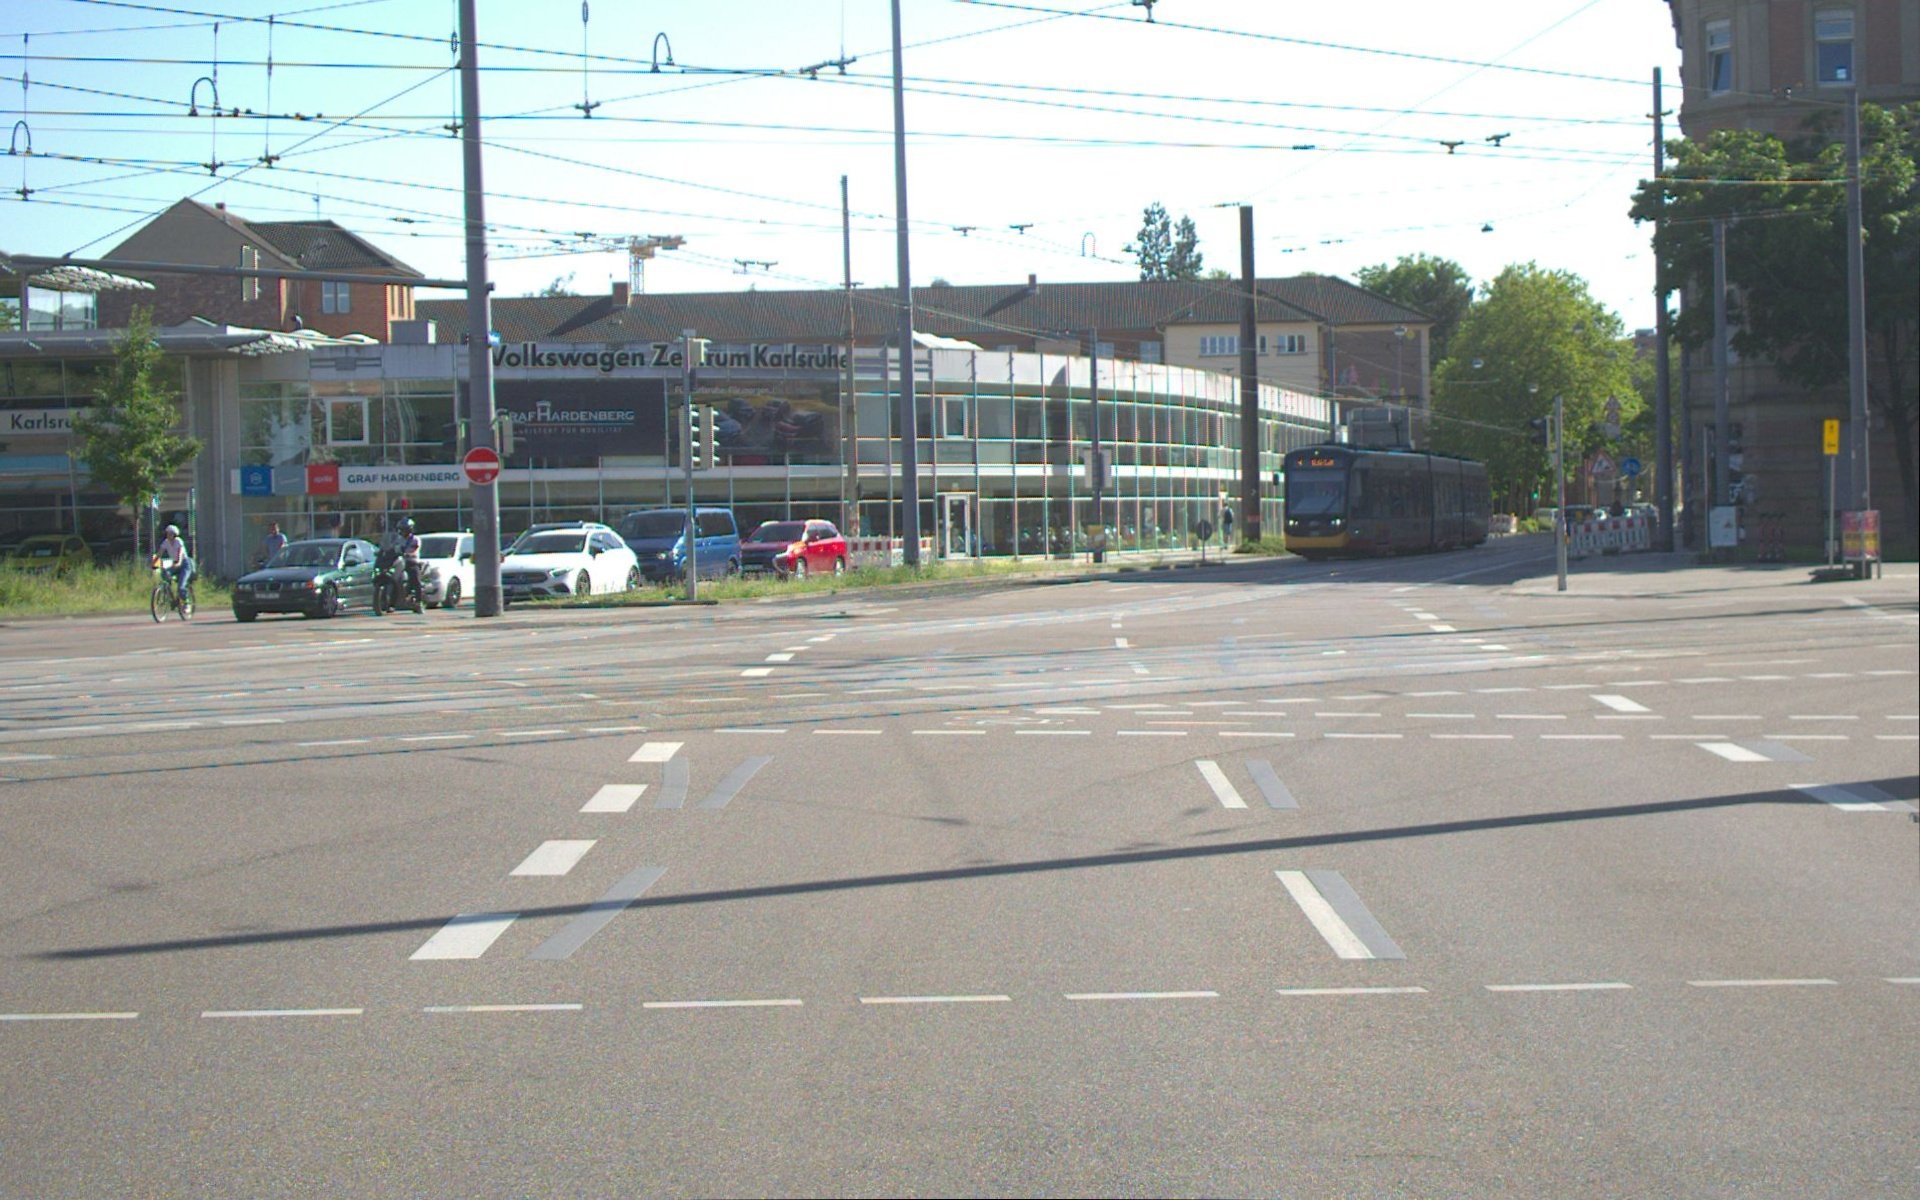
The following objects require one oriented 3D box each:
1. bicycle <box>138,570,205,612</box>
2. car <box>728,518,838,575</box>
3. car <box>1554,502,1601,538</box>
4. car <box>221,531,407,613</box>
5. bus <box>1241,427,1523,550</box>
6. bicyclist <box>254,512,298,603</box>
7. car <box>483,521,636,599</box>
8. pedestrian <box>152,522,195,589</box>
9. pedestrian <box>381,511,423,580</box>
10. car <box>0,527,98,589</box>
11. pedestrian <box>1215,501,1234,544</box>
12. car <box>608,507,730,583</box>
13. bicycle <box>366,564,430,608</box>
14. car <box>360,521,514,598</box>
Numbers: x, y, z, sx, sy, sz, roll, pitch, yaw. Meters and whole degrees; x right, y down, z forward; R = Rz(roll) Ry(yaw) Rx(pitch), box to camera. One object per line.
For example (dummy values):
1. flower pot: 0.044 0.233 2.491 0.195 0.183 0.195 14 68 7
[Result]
1. bicycle: -14.351 -0.165 62.598 0.423 0.715 1.474 -1 1 21
2. car: -4.405 -1.349 86.081 1.627 1.359 3.683 -1 1 16
3. car: 26.980 -3.493 150.088 1.700 1.497 4.262 -1 1 14
4. car: -11.394 -0.513 60.871 1.705 1.349 3.698 -1 1 17
5. bus: 14.485 -3.501 114.319 3.840 3.595 24.841 1 1 20
6. bicyclist: -12.908 -0.804 64.846 0.569 1.708 0.648 -1 1 12
7. car: -7.527 -0.775 64.941 1.627 1.377 3.735 -1 1 14
8. pedestrian: -14.335 -0.819 62.658 0.423 1.200 0.680 -1 1 21
9. pedestrian: -9.793 -0.956 60.379 0.423 1.200 0.749 -1 1 17
10. car: -26.542 -1.242 99.870 1.966 1.700 4.084 -1 1 -1
11. pedestrian: 10.315 -3.031 134.136 0.543 1.683 0.629 -1 1 21
12. car: -6.652 -1.277 78.953 1.627 1.686 3.683 -1 1 14
13. bicycle: -9.839 -0.249 60.234 0.423 0.715 1.633 -1 1 17
14. car: -10.126 -0.807 66.823 1.627 1.419 3.683 -1 1 14
